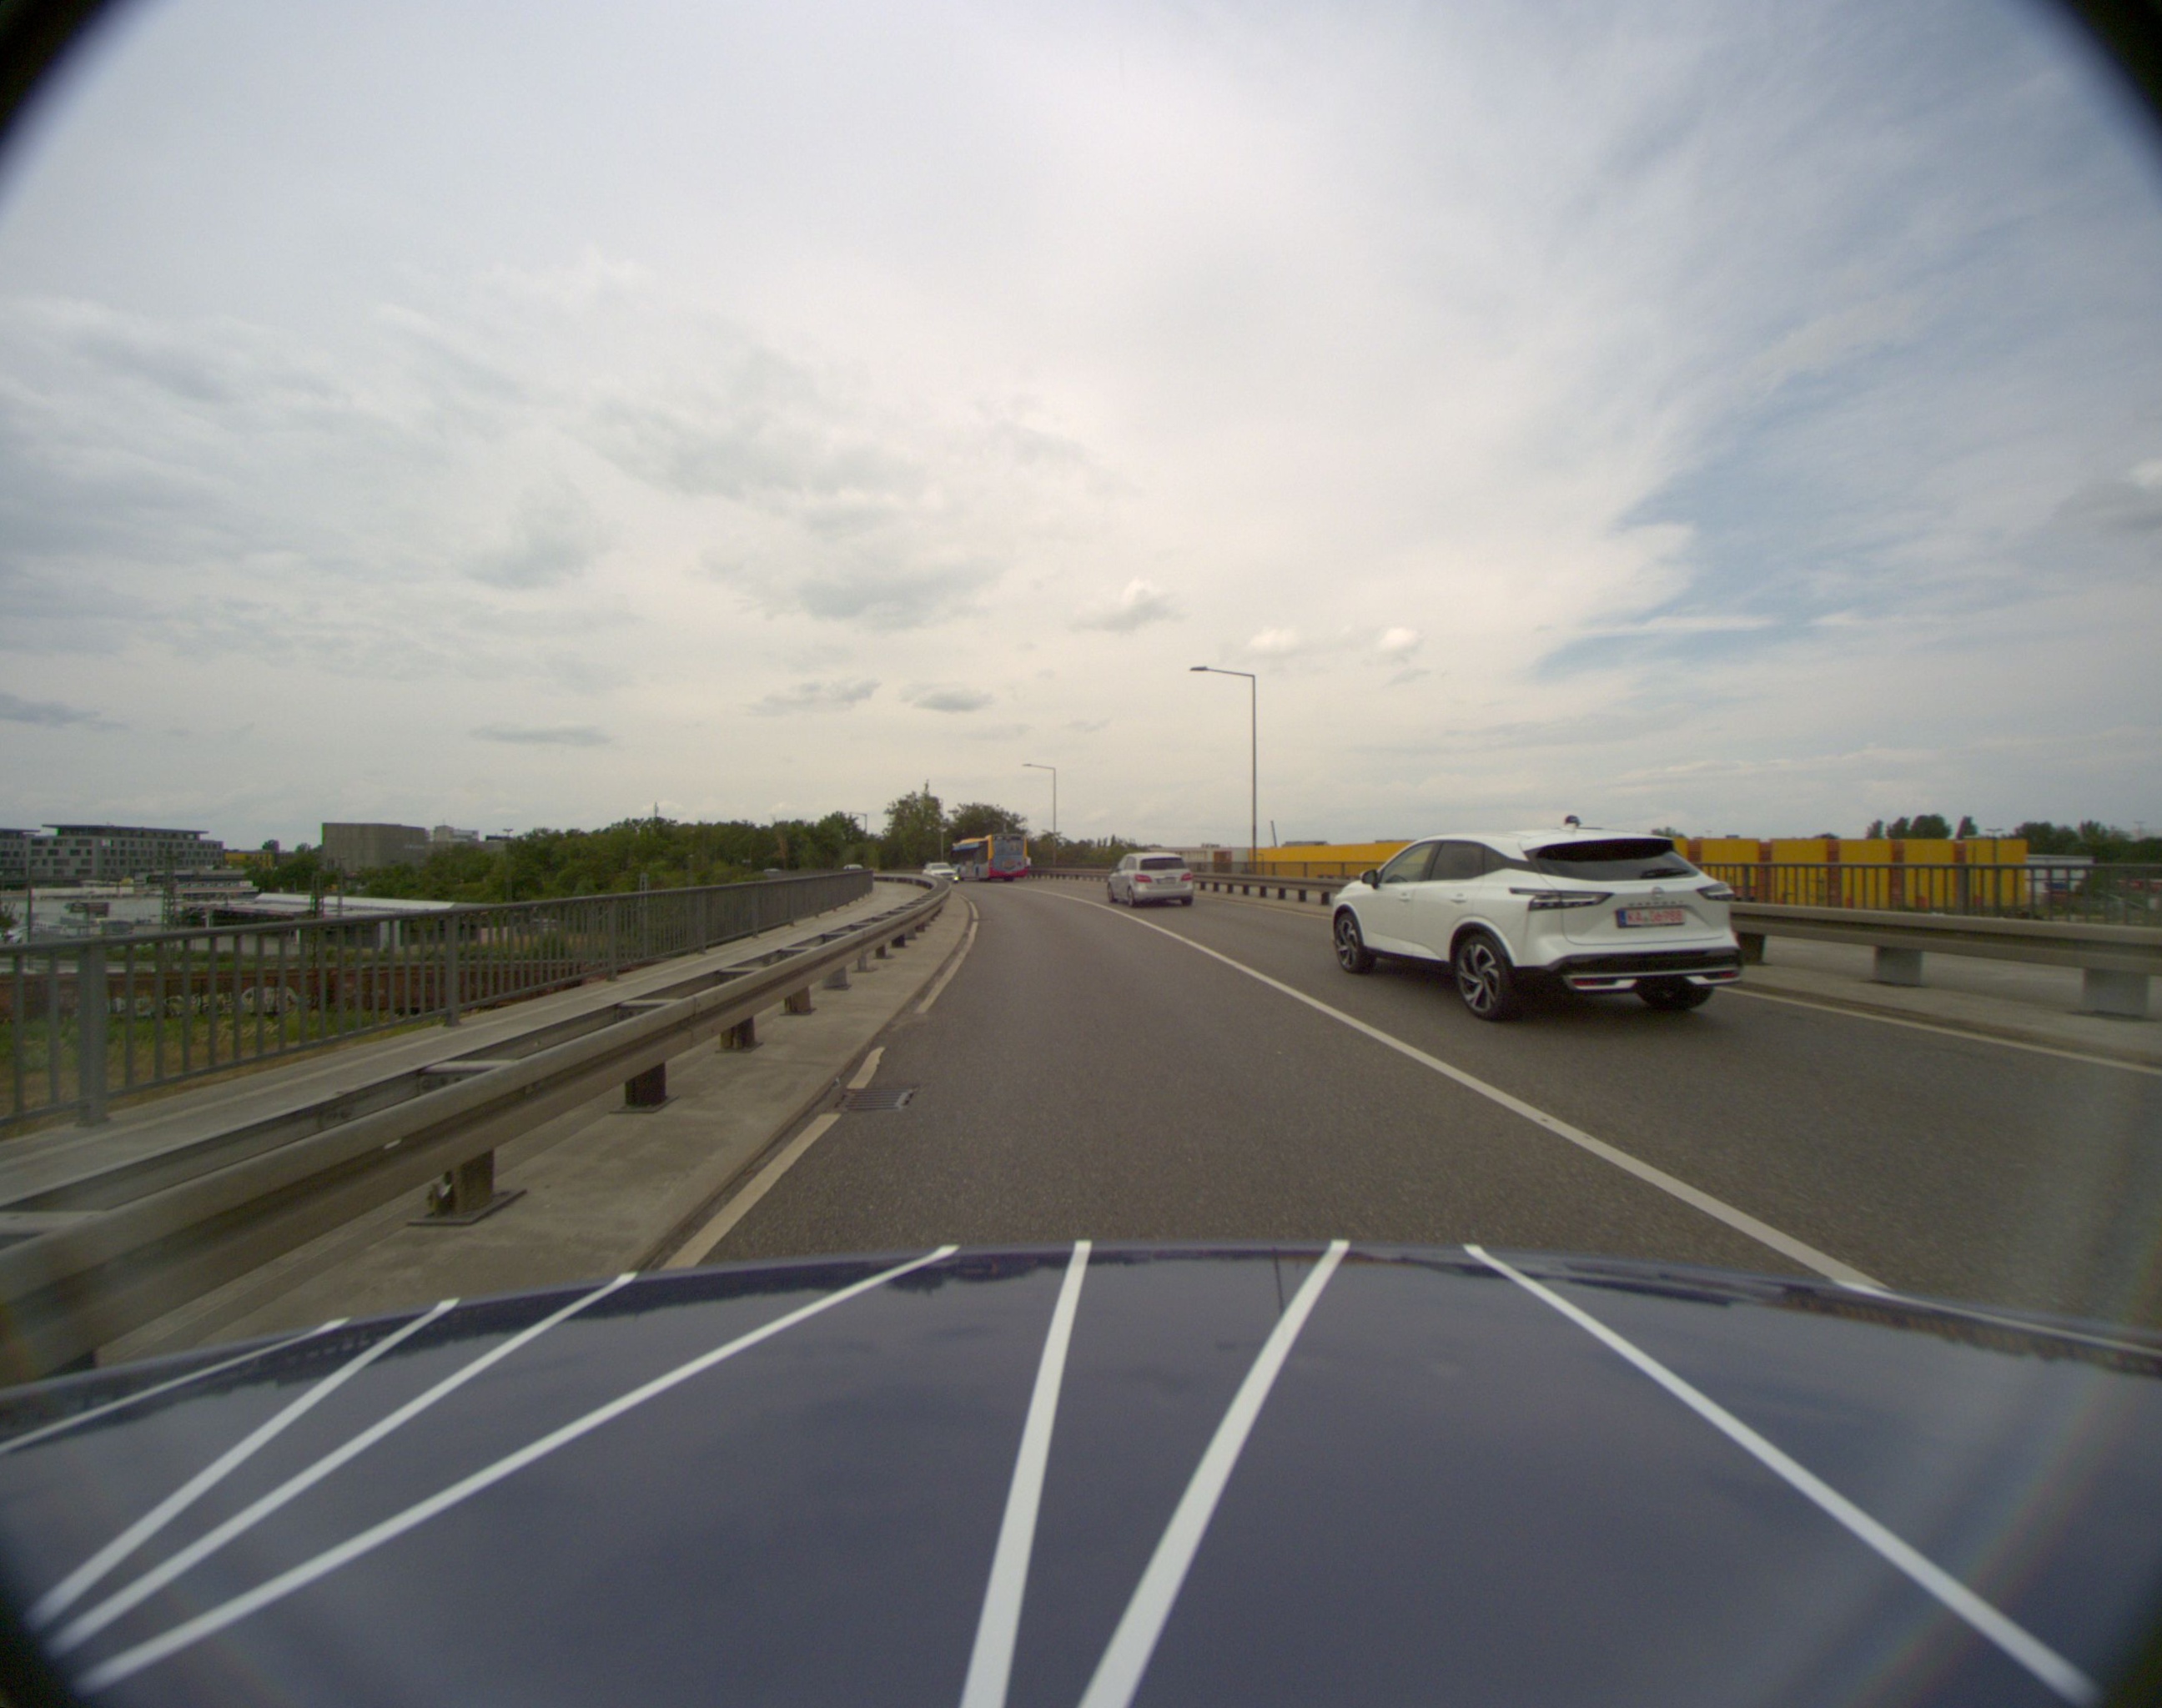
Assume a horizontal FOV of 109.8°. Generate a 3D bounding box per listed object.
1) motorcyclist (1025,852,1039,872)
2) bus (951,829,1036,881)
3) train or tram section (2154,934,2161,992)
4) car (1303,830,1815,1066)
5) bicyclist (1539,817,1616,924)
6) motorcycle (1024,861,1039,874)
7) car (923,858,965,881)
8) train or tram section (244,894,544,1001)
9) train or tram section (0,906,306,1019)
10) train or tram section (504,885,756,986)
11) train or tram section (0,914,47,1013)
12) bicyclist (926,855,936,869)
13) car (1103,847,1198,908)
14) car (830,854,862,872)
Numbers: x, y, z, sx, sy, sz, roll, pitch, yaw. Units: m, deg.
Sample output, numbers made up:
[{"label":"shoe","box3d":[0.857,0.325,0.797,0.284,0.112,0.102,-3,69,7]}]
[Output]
[{"label":"motorcyclist","box3d":[-3.902,0.605,60.337,0.813,1.520,0.823,-3,1,-21]},{"label":"bus","box3d":[-6.647,0.081,54.867,3.044,3.214,12.928,-2,1,-20]},{"label":"train or tram section","box3d":[82.383,7.998,52.658,12.753,4.072,2.099,3,1,0]},{"label":"car","box3d":[4.099,0.637,7.743,1.946,1.584,4.771,-2,1,-4]},{"label":"bicyclist","box3d":[7.473,0.239,11.468,0.612,1.531,0.757,-2,1,-5]},{"label":"motorcycle","box3d":[-3.940,1.073,60.489,0.628,0.957,1.836,-3,1,-20]},{"label":"car","box3d":[-9.525,1.070,52.621,1.941,1.448,3.878,-3,0,-25]},{"label":"train or tram section","box3d":[-43.076,5.748,48.255,14.258,5.567,3.655,-2,1,-8]},{"label":"train or tram section","box3d":[-56.986,6.438,46.237,13.910,5.645,3.840,-2,1,-10]},{"label":"train or tram section","box3d":[-29.258,5.209,50.057,13.650,5.542,3.649,-2,1,-7]},{"label":"train or tram section","box3d":[-71.163,6.852,43.716,15.017,5.644,3.973,-2,1,-10]},{"label":"bicyclist","box3d":[-16.575,0.908,83.893,0.714,1.436,0.746,-3,0,-40]},{"label":"car","box3d":[1.974,0.637,23.030,1.824,1.611,4.394,-2,1,-9]},{"label":"car","box3d":[-25.194,1.014,81.417,1.966,1.694,4.422,-3,0,-33]}]
